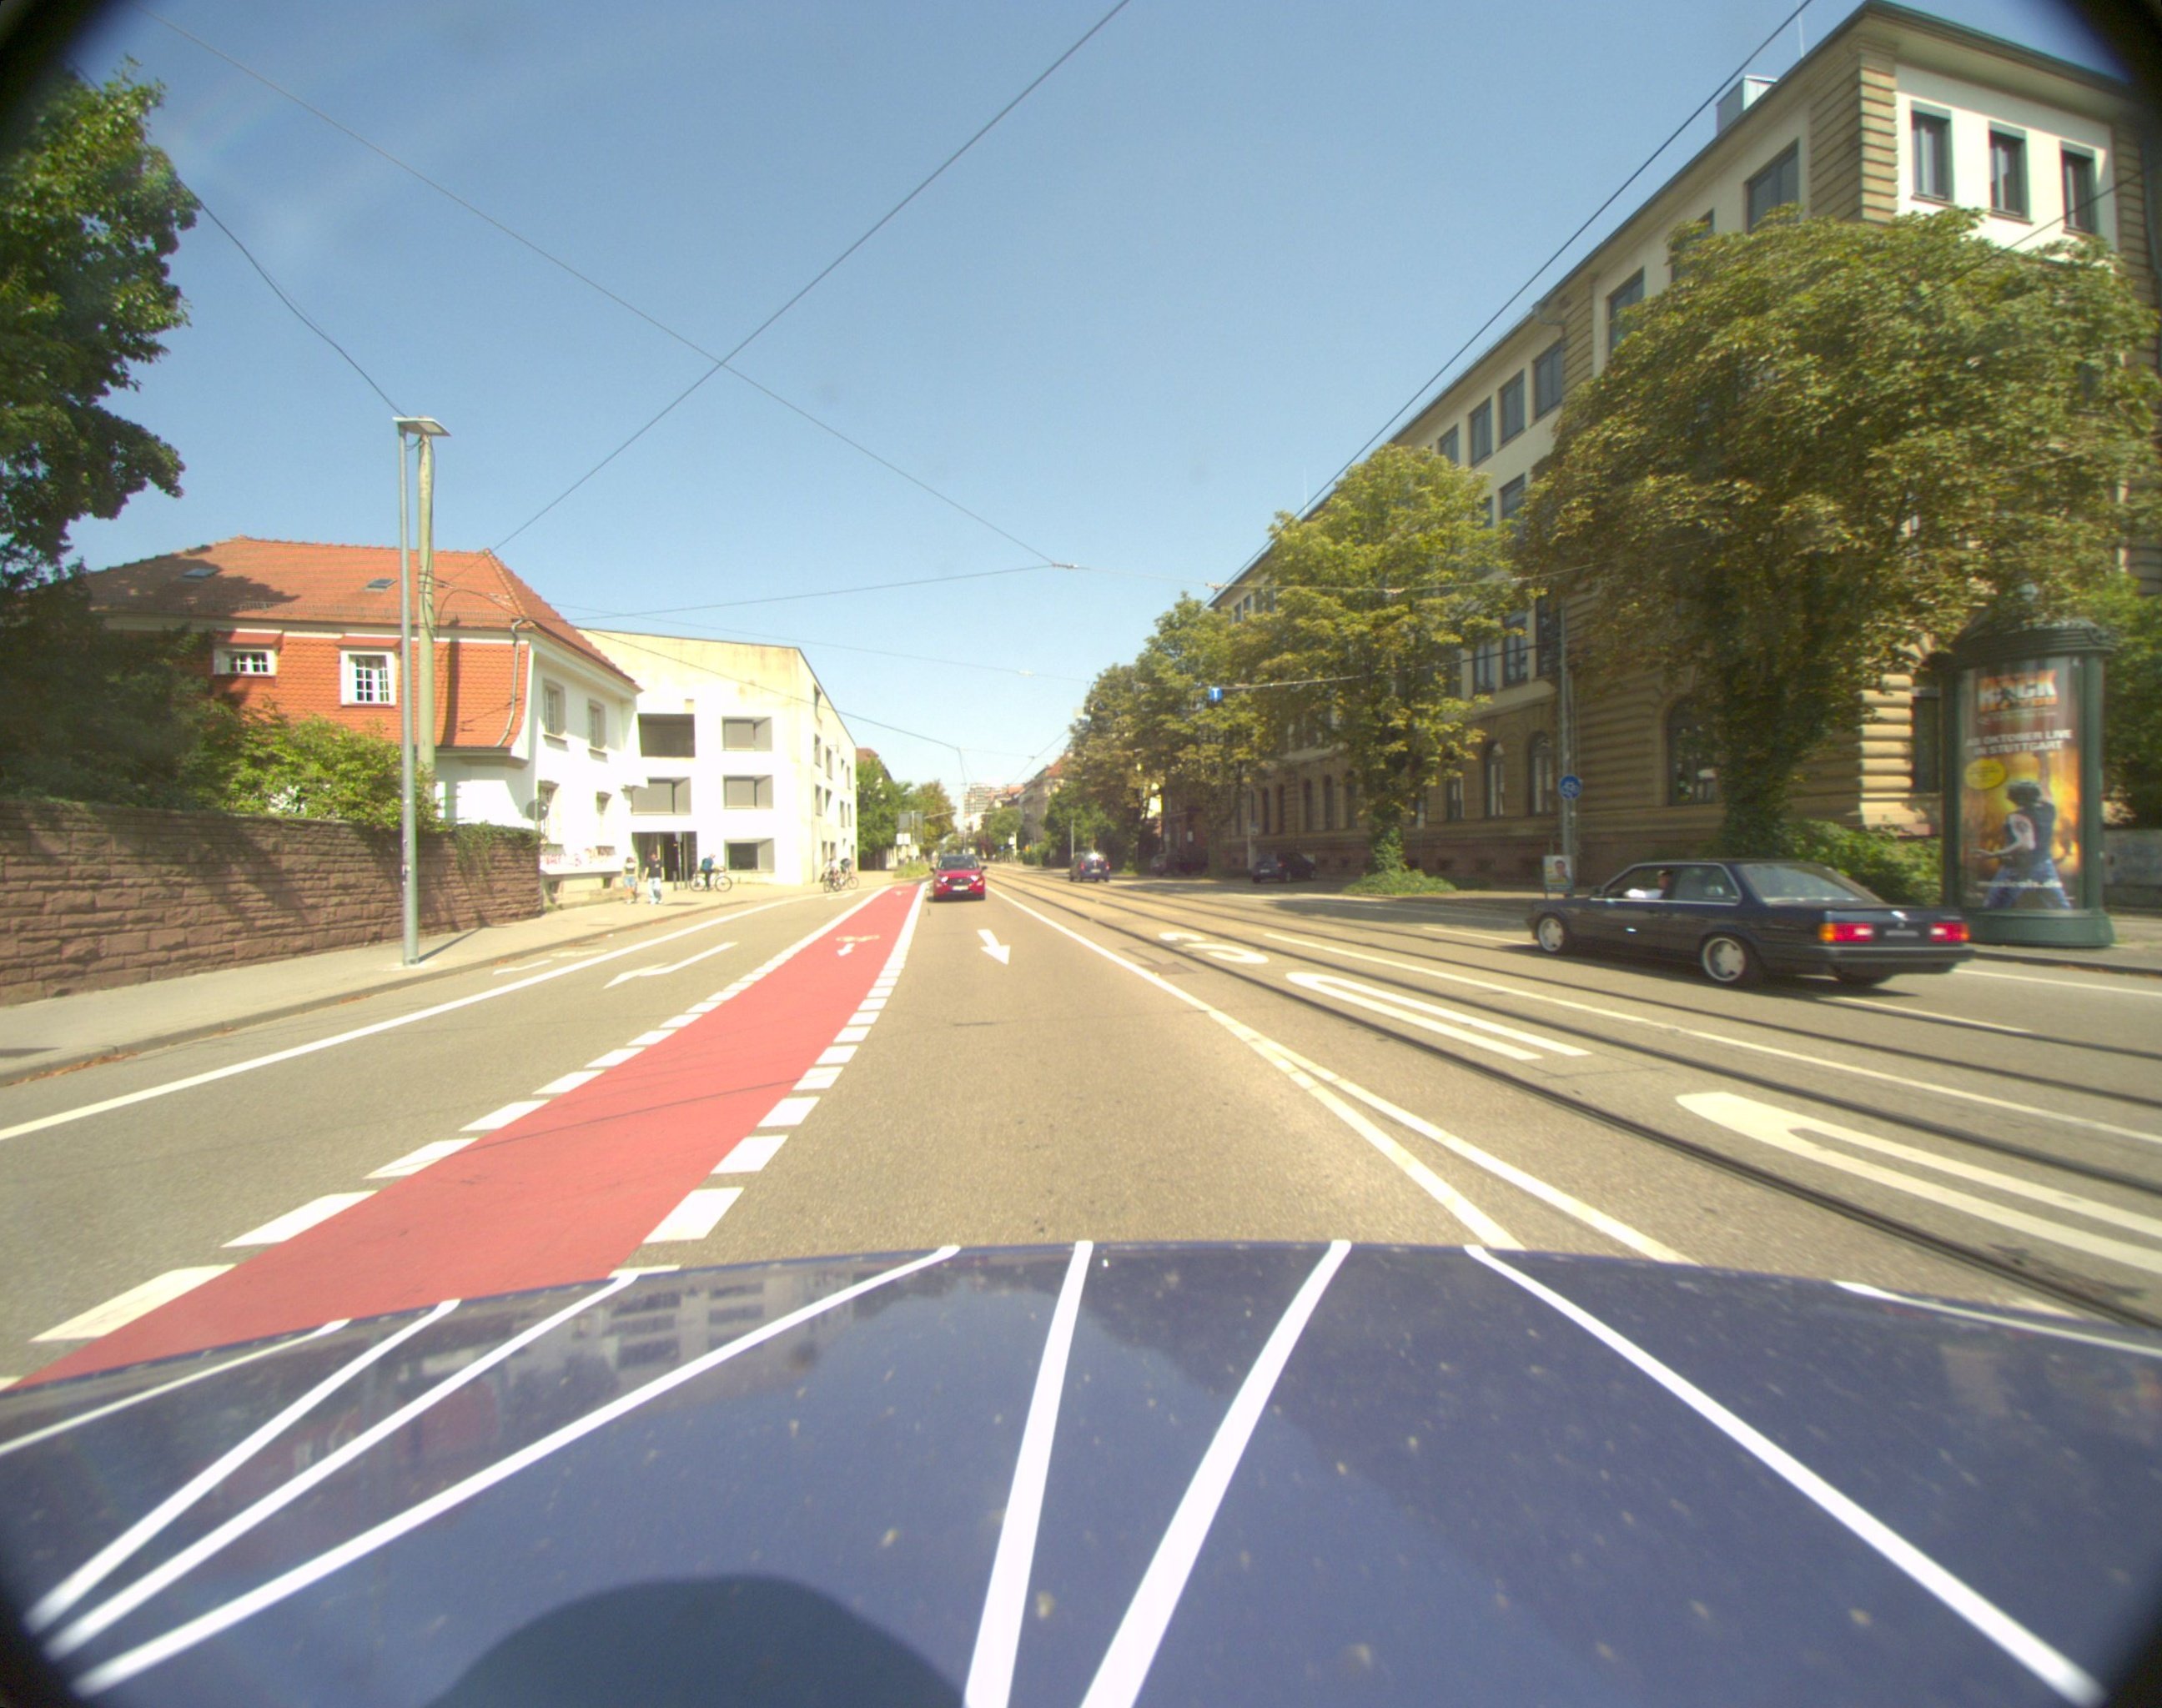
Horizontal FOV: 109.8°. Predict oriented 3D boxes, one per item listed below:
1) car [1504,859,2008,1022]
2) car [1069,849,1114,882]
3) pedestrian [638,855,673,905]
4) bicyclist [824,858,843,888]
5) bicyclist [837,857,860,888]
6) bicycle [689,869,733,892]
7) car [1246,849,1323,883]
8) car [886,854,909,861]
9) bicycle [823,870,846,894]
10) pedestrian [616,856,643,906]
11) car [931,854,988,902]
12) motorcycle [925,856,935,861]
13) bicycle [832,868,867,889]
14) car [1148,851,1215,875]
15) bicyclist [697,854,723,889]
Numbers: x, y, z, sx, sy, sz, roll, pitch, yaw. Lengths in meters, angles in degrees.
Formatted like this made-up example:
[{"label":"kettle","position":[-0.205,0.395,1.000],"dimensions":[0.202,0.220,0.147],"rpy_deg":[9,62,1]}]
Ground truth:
[{"label":"car","position":[7.366,0.782,9.118],"dimensions":[1.693,1.370,4.615],"rpy_deg":[-1,0,-5]},{"label":"car","position":[0.519,0.593,41.177],"dimensions":[1.697,1.645,3.577],"rpy_deg":[-2,1,-10]},{"label":"pedestrian","position":[-14.506,0.887,25.916],"dimensions":[0.729,1.656,0.878],"rpy_deg":[-2,1,-8]},{"label":"bicyclist","position":[-11.958,0.907,36.740],"dimensions":[0.747,1.403,0.961],"rpy_deg":[-1,1,-10]},{"label":"bicyclist","position":[-12.451,0.974,40.667],"dimensions":[0.626,1.589,0.994],"rpy_deg":[0,1,34]},{"label":"bicycle","position":[-16.876,1.185,34.650],"dimensions":[1.715,0.994,0.614],"rpy_deg":[0,0,-40]},{"label":"car","position":[9.733,0.542,36.111],"dimensions":[1.816,1.487,4.172],"rpy_deg":[-1,0,42]},{"label":"car","position":[-37.482,0.652,155.372],"dimensions":[3.993,1.435,1.977],"rpy_deg":[-1,0,12]},{"label":"bicycle","position":[-11.926,1.326,36.753],"dimensions":[0.742,1.042,2.231],"rpy_deg":[-1,0,-11]},{"label":"pedestrian","position":[-15.317,0.901,25.765],"dimensions":[0.620,1.656,0.486],"rpy_deg":[-2,1,-12]},{"label":"car","position":[-4.313,0.788,26.968],"dimensions":[1.817,1.542,4.017],"rpy_deg":[-2,0,-9]},{"label":"motorcycle","position":[-31.818,0.978,159.939],"dimensions":[2.002,1.009,0.796],"rpy_deg":[2,0,-11]},{"label":"bicycle","position":[-12.392,1.286,40.712],"dimensions":[0.614,0.994,1.714],"rpy_deg":[-1,2,33]},{"label":"car","position":[6.726,0.563,50.794],"dimensions":[4.437,1.453,1.816],"rpy_deg":[-2,1,-37]},{"label":"bicyclist","position":[-16.905,0.800,34.616],"dimensions":[0.906,1.530,0.626],"rpy_deg":[2,0,-41]}]
